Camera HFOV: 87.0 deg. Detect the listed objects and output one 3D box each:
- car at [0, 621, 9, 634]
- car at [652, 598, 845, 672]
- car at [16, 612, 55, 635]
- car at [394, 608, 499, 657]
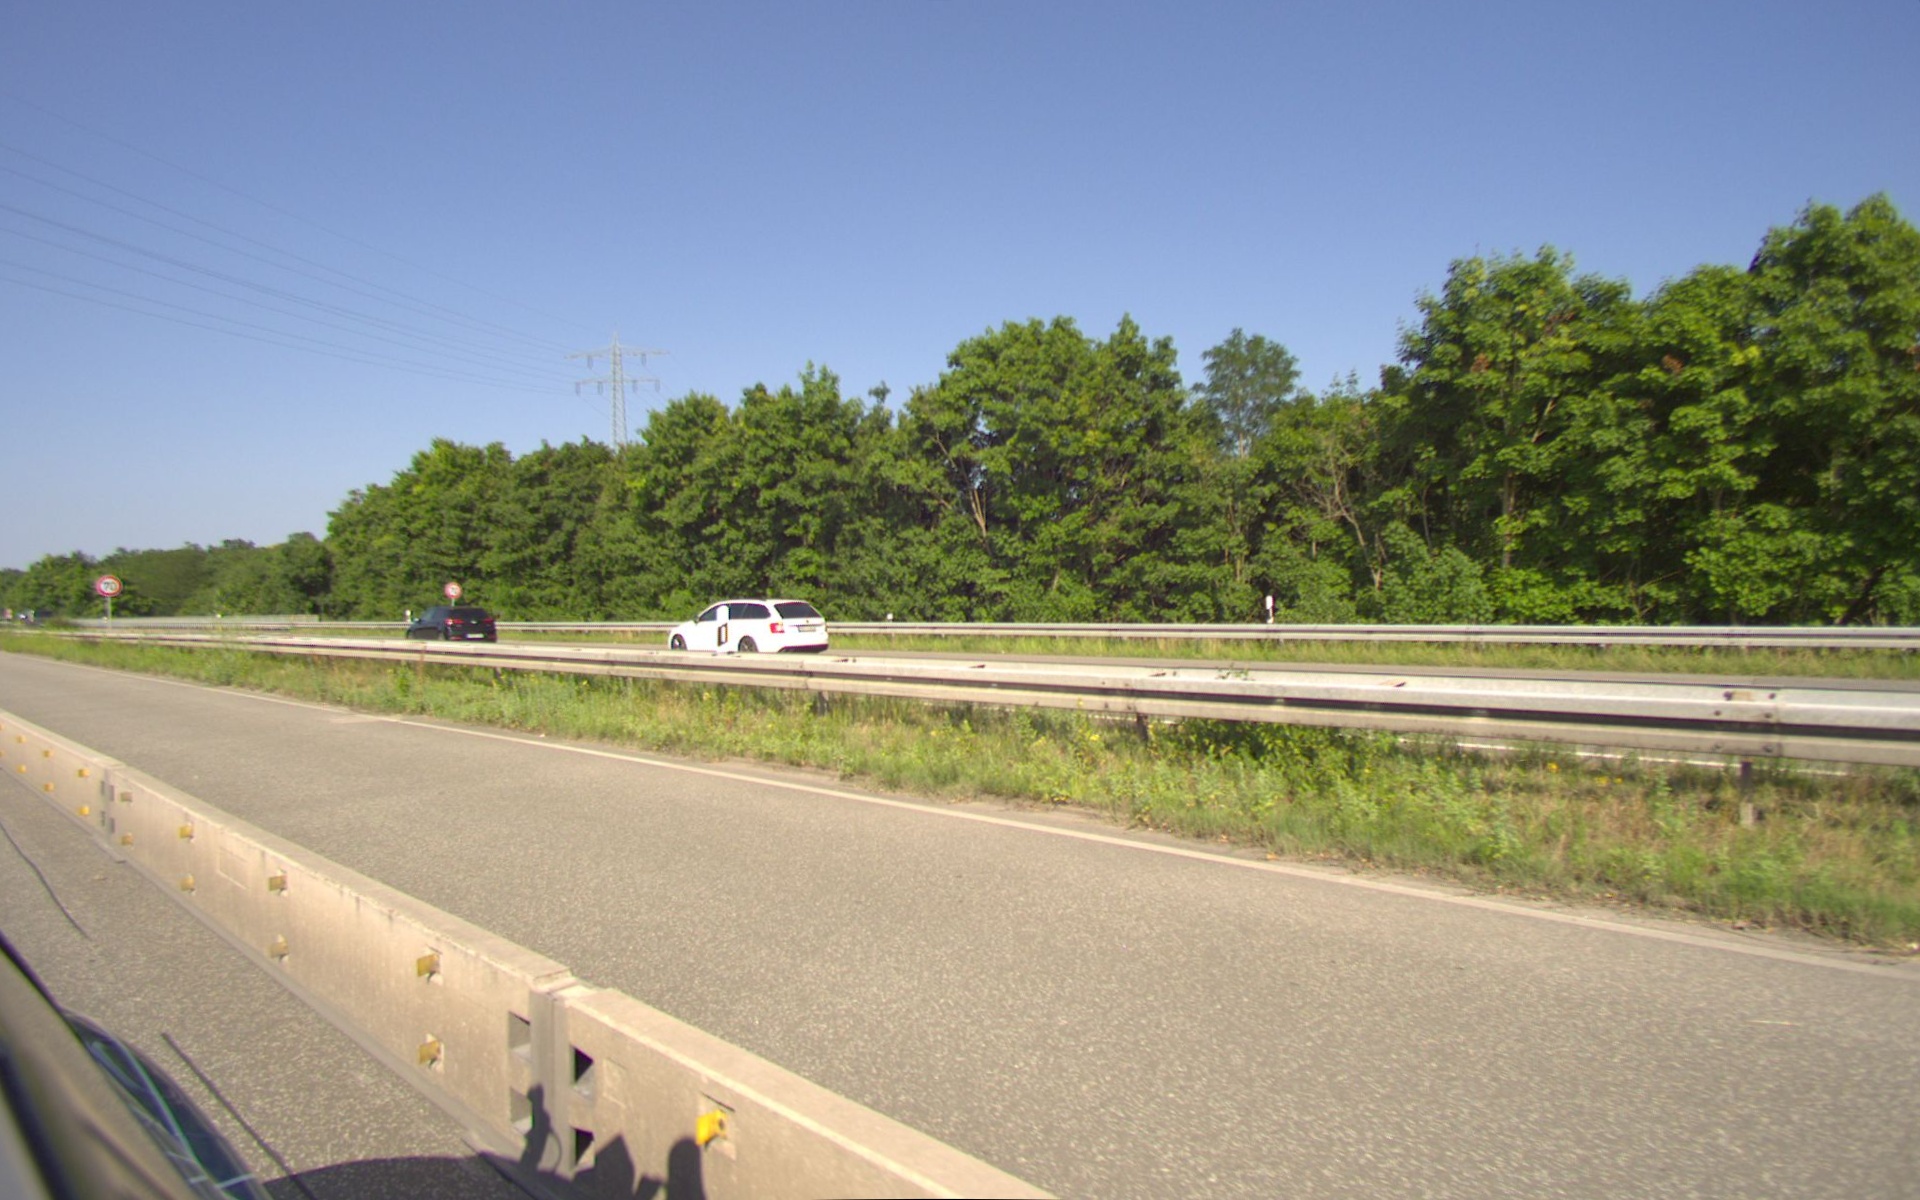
[{"bbox_3d":[-114.127,3.285,120.052,3.816,1.542,1.629,-1,-1,41],"label":"car"},{"bbox_3d":[-4.939,0.759,23.233,4.791,1.481,1.742,-1,1,41],"label":"car"},{"bbox_3d":[-88.058,2.221,96.373,5.163,2.050,1.974,-1,1,39],"label":"car"},{"bbox_3d":[-17.278,1.068,33.978,4.107,1.505,1.720,-1,0,41],"label":"car"}]
